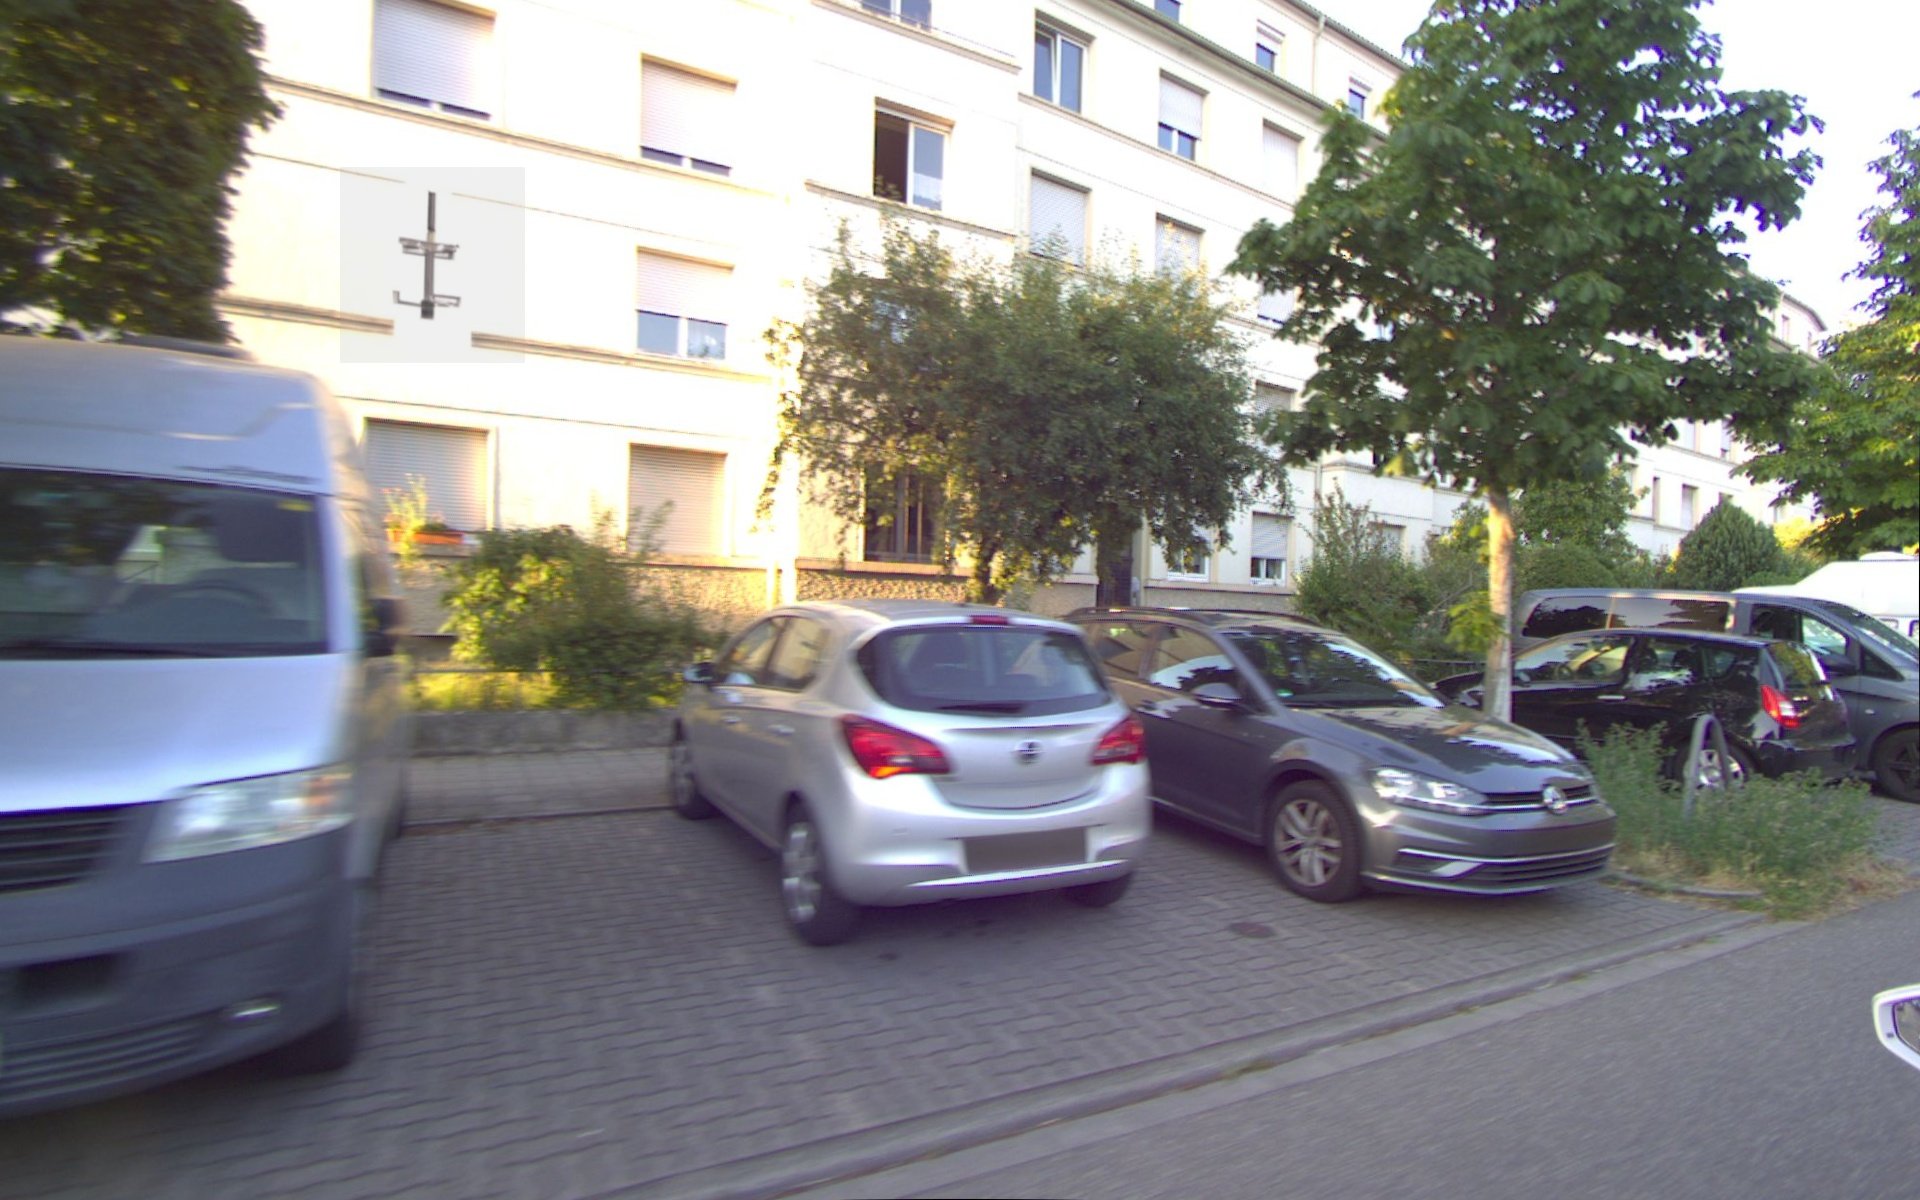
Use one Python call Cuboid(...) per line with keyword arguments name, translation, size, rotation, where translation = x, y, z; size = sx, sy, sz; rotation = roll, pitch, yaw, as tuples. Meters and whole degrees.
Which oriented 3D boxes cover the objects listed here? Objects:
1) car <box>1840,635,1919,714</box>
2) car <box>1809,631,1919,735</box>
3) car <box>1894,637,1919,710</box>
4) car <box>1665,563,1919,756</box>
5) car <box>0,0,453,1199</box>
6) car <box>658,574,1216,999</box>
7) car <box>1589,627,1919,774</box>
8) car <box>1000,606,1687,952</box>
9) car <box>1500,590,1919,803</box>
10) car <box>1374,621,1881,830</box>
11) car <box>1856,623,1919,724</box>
Cuboid(name="car", translation=(20.509, 1.569, 20.188), size=(1.774, 1.544, 3.957), rotation=(2, 0, -37))
Cuboid(name="car", translation=(16.551, 1.402, 16.330), size=(1.766, 1.616, 3.839), rotation=(2, 0, -32))
Cuboid(name="car", translation=(22.847, 1.683, 21.468), size=(1.714, 1.604, 3.960), rotation=(2, 0, -35))
Cuboid(name="car", translation=(12.773, 0.778, 13.926), size=(1.979, 2.463, 4.476), rotation=(2, 0, -33))
Cuboid(name="car", translation=(-3.236, 0.037, 4.035), size=(1.974, 2.604, 4.716), rotation=(2, 0, -26))
Cuboid(name="car", translation=(-0.486, 0.689, 5.849), size=(1.633, 1.543, 3.786), rotation=(2, 1, -29))
Cuboid(name="car", translation=(10.358, 1.134, 12.218), size=(1.979, 1.444, 4.151), rotation=(2, 0, -33))
Cuboid(name="car", translation=(2.038, 0.823, 6.681), size=(1.663, 1.412, 4.228), rotation=(2, 0, -27))
Cuboid(name="car", translation=(8.690, 0.884, 10.841), size=(1.979, 1.898, 4.646), rotation=(2, 0, -33))
Cuboid(name="car", translation=(6.202, 1.024, 9.771), size=(1.637, 1.458, 3.748), rotation=(2, 0, -32))
Cuboid(name="car", translation=(18.735, 1.386, 17.849), size=(1.823, 1.800, 3.839), rotation=(2, 0, -32))
